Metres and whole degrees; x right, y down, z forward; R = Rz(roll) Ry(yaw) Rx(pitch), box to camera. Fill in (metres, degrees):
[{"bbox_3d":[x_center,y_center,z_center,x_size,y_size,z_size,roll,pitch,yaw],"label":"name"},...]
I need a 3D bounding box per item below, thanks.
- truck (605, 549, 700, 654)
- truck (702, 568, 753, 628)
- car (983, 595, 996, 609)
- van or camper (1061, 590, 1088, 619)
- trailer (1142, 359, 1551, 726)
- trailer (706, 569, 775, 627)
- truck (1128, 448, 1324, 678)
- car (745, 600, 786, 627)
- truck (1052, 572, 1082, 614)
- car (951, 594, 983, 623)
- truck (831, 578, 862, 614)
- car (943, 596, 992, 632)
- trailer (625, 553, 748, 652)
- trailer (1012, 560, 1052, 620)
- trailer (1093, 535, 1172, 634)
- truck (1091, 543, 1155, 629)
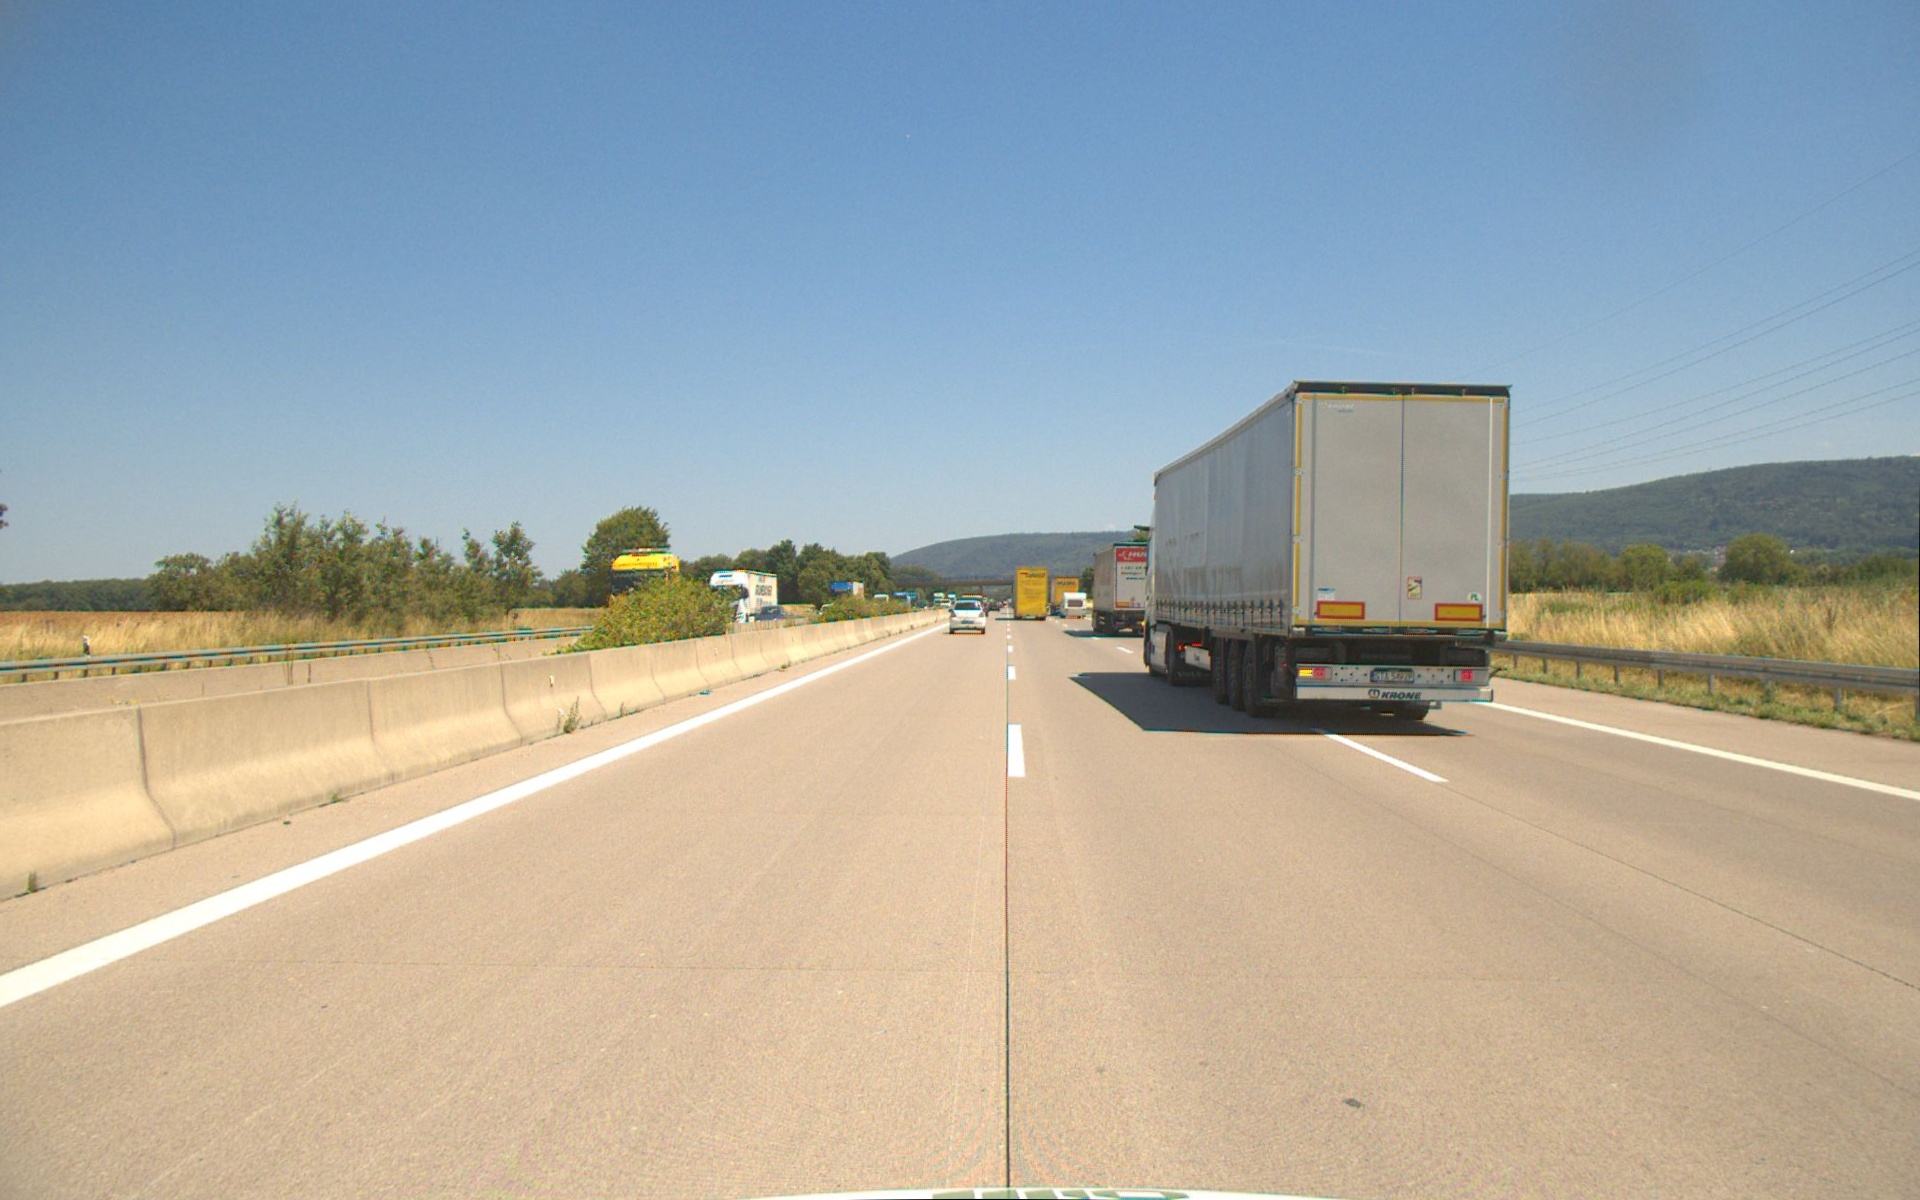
[{"bbox_3d":[-12.736,0.072,68.916,2.687,4.151,5.541,1,0,1],"label":"truck"},{"bbox_3d":[-15.714,-0.143,112.142,2.713,3.907,4.452,1,0,1],"label":"truck"},{"bbox_3d":[4.208,0.328,236.472,1.747,1.914,4.001,1,0,2],"label":"car"},{"bbox_3d":[10.477,0.443,151.666,2.178,2.575,5.432,1,0,1],"label":"van or camper"},{"bbox_3d":[5.195,-0.663,25.948,2.956,4.132,14.205,1,0,0],"label":"trailer"},{"bbox_3d":[-15.571,-0.138,118.431,2.713,3.869,13.830,1,0,1],"label":"trailer"},{"bbox_3d":[5.135,-0.679,32.898,2.923,4.133,5.477,1,0,-1],"label":"truck"},{"bbox_3d":[-12.173,0.804,103.690,1.952,1.611,4.370,-1,0,1],"label":"car"},{"bbox_3d":[11.602,-0.763,180.106,2.937,4.390,9.686,1,0,2],"label":"truck"},{"bbox_3d":[0.529,0.592,122.023,2.208,2.049,4.299,1,0,2],"label":"car"},{"bbox_3d":[-12.671,-0.397,185.044,2.837,3.931,5.685,1,0,1],"label":"truck"},{"bbox_3d":[0.391,0.639,77.106,2.063,1.563,4.123,1,0,3],"label":"car"},{"bbox_3d":[-12.473,0.094,77.139,2.719,4.110,14.616,1,0,2],"label":"trailer"},{"bbox_3d":[5.956,-0.796,138.183,3.149,4.643,13.460,1,0,2],"label":"trailer"},{"bbox_3d":[7.943,-0.670,77.718,2.814,4.172,13.517,1,0,2],"label":"trailer"},{"bbox_3d":[8.240,-0.672,84.207,2.845,4.172,6.274,1,0,2],"label":"truck"}]
